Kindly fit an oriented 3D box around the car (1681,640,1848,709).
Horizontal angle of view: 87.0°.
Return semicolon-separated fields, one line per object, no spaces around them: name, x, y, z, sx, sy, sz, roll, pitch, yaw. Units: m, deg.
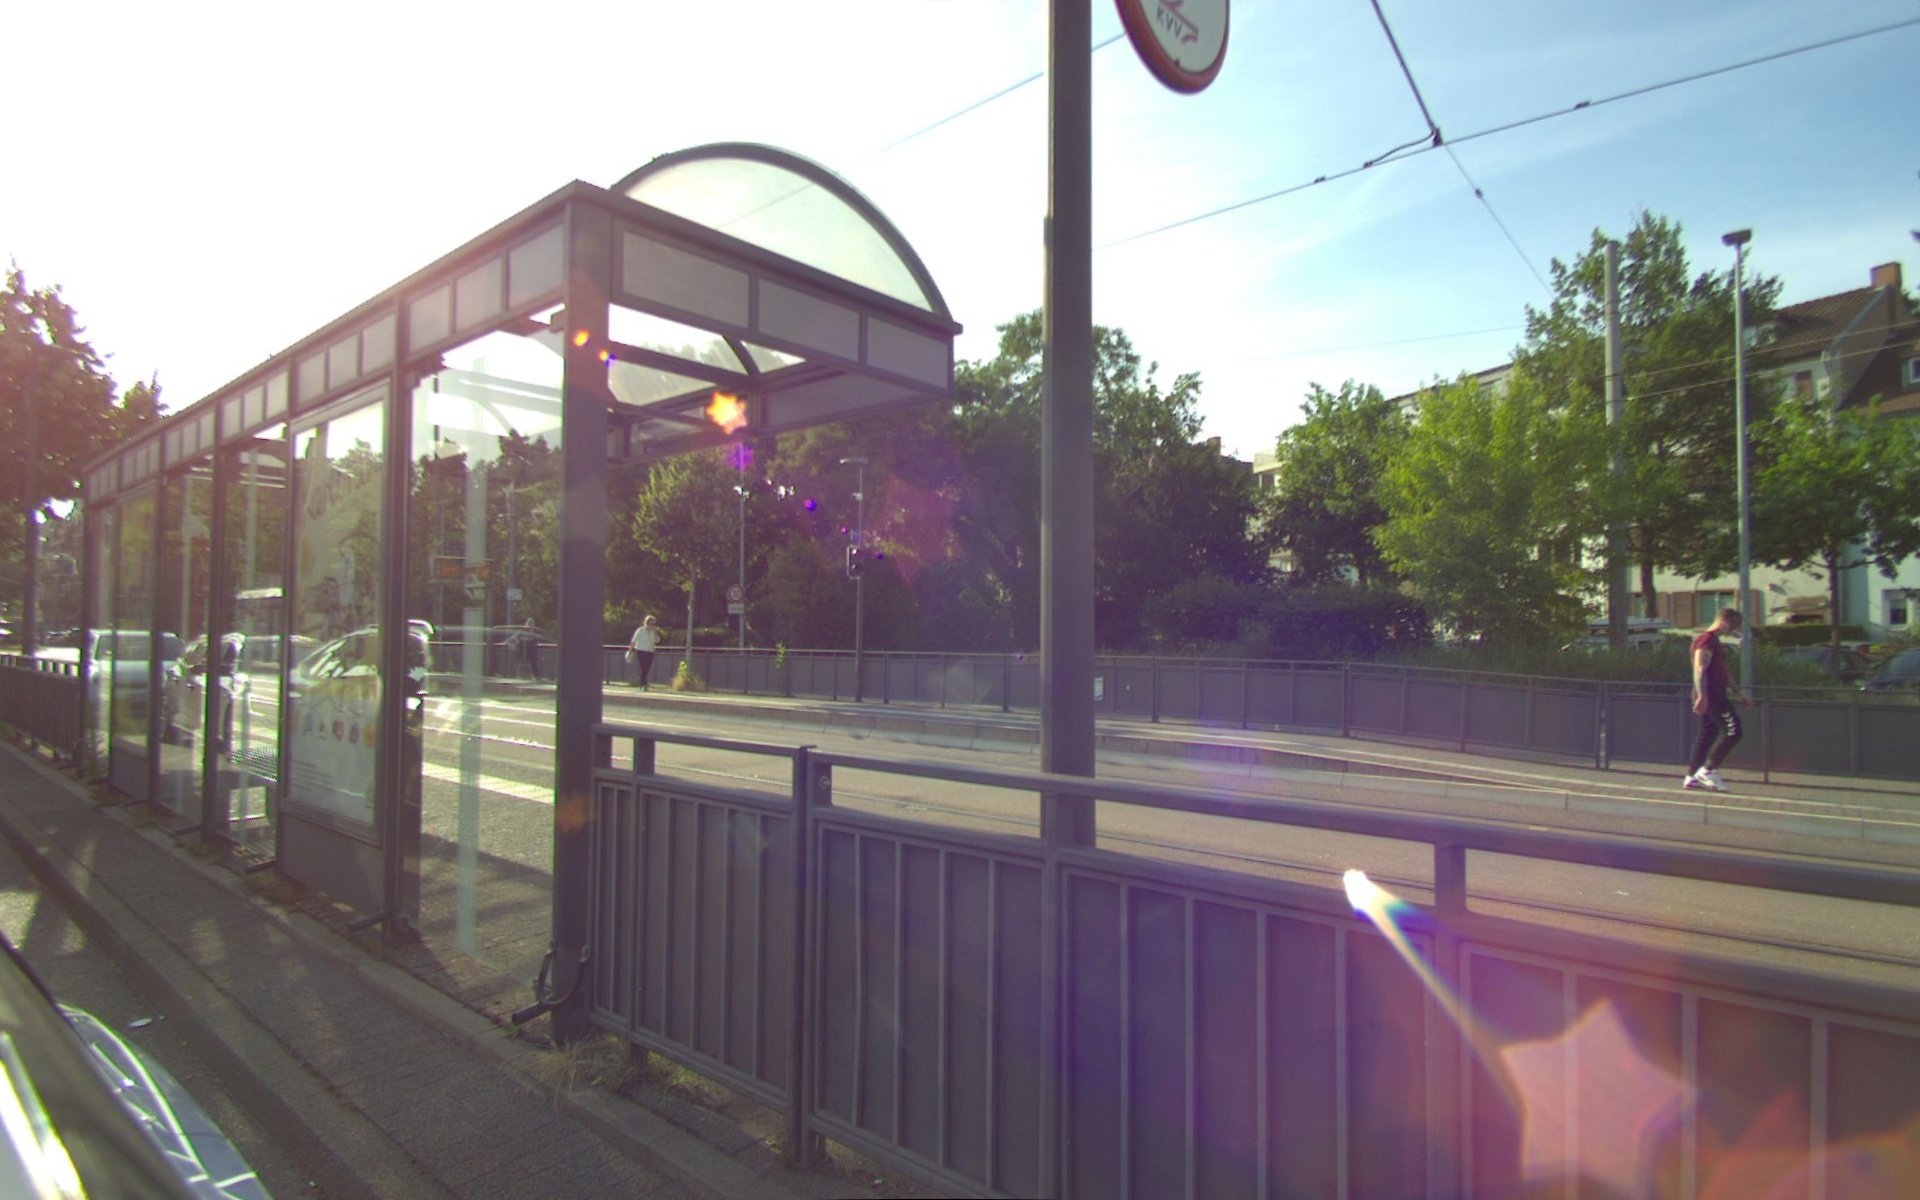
car;18.177;1.620;22.837;3.935;1.409;2.004;2;-3;-37

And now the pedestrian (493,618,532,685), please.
pedestrian;-11.772;1.355;26.624;0.618;1.697;0.613;-2;-6;41

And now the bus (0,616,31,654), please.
bus;-92.594;3.320;98.396;9.258;3.461;2.405;-1;0;41

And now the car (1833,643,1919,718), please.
car;19.630;1.597;20.610;3.935;1.409;2.004;2;-3;-37

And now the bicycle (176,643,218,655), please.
bicycle;-57.869;3.720;76.783;0.631;0.888;2.502;-2;-3;45

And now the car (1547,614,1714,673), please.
car;18.190;1.194;27.475;3.930;1.497;1.854;1;-3;-22

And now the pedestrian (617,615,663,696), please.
pedestrian;-6.925;1.199;21.896;0.618;1.697;0.613;-2;-6;41

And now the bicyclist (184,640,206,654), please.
bicyclist;-57.944;3.535;76.651;0.671;1.032;1.201;-2;-3;42

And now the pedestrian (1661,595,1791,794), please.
pedestrian;6.920;0.839;9.160;0.877;1.697;0.547;-2;-6;41

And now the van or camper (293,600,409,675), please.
van or camper;-26.430;1.555;43.812;6.408;2.990;2.494;-1;0;41
